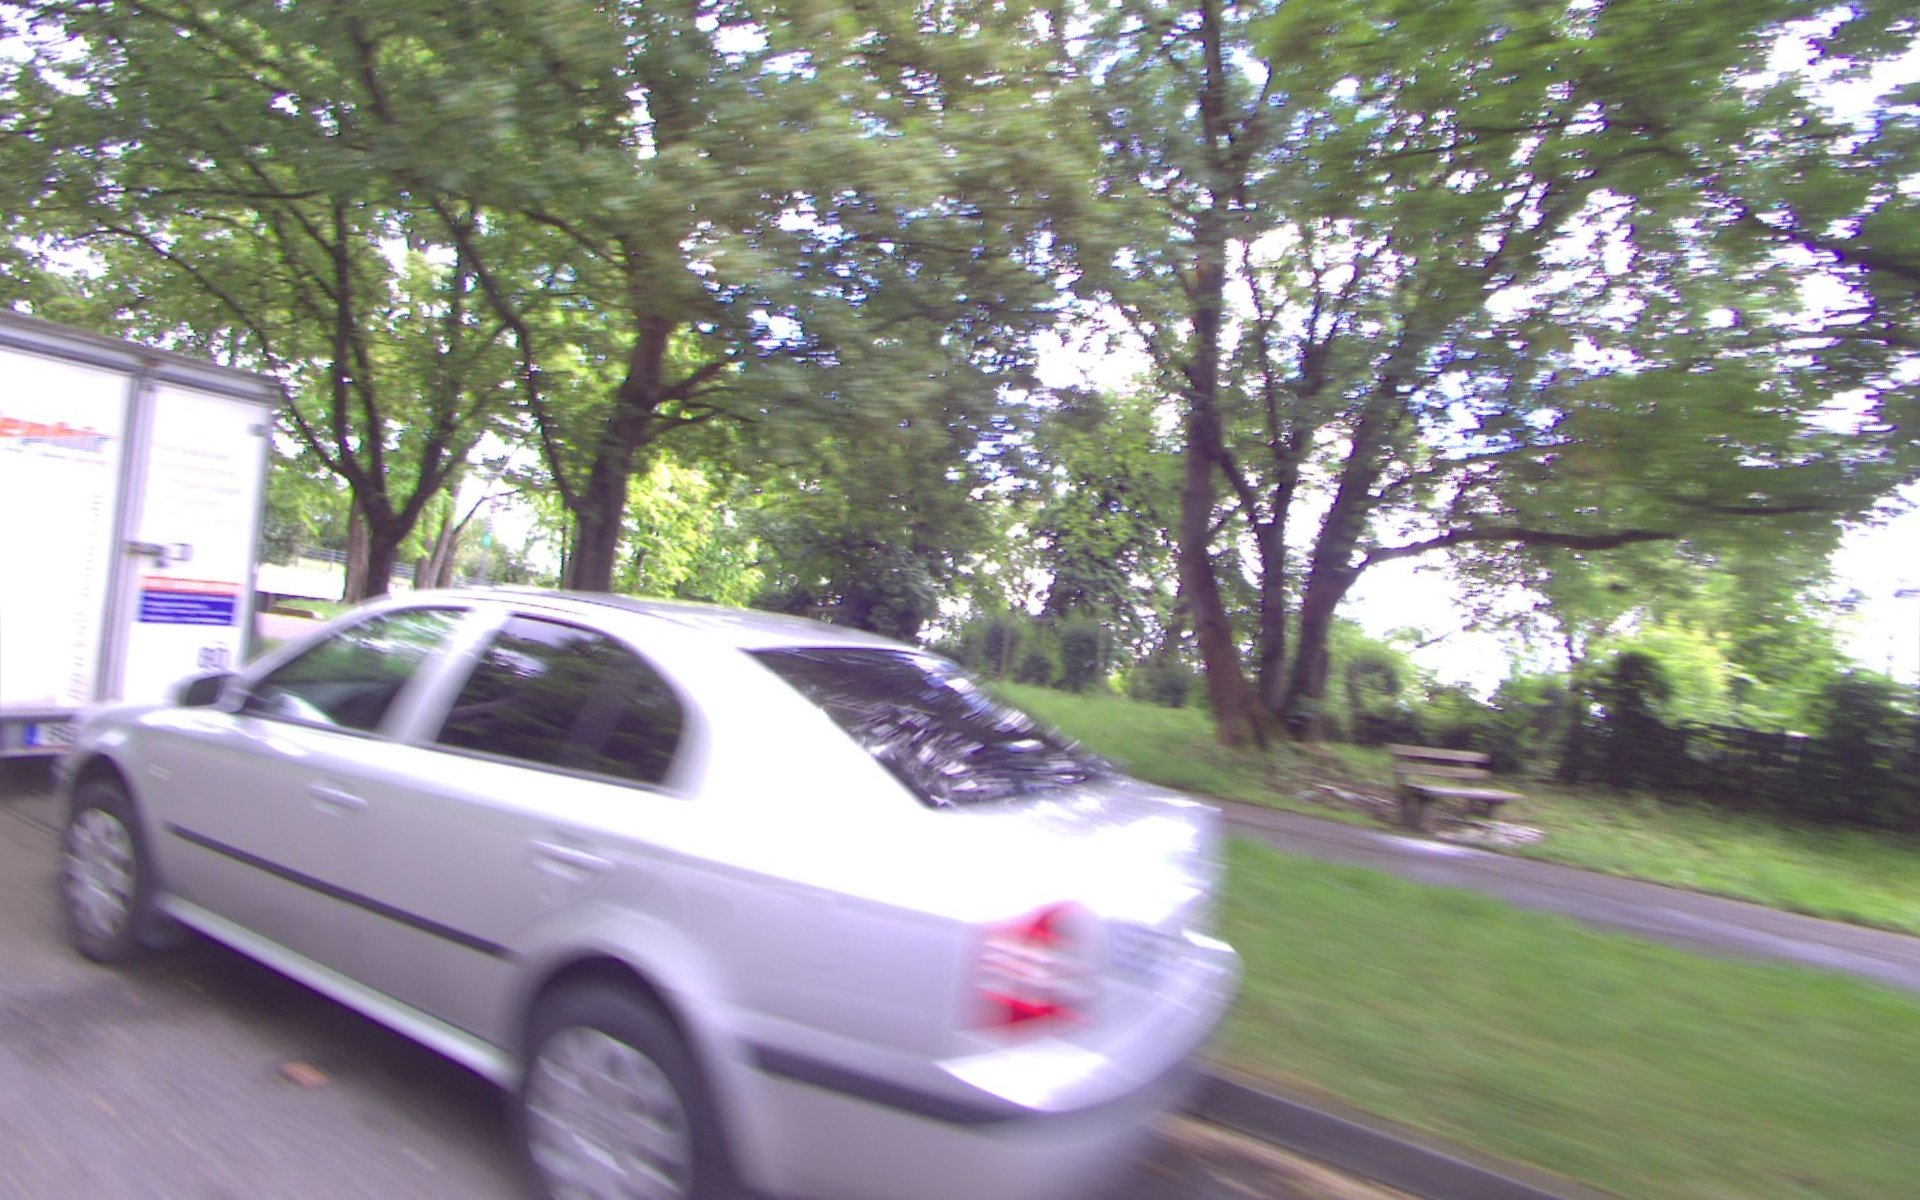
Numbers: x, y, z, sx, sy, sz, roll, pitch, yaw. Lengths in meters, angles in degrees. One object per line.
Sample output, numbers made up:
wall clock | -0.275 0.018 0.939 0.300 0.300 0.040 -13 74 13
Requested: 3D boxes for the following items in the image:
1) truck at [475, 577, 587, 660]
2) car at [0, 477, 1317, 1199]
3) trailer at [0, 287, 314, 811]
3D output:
truck | -24.459 1.244 58.013 2.649 4.039 9.580 7 -4 -5
car | -1.346 0.577 3.516 4.556 1.543 1.745 6 -1 29
trailer | -6.001 -0.368 6.013 3.820 2.456 1.764 6 -1 28
